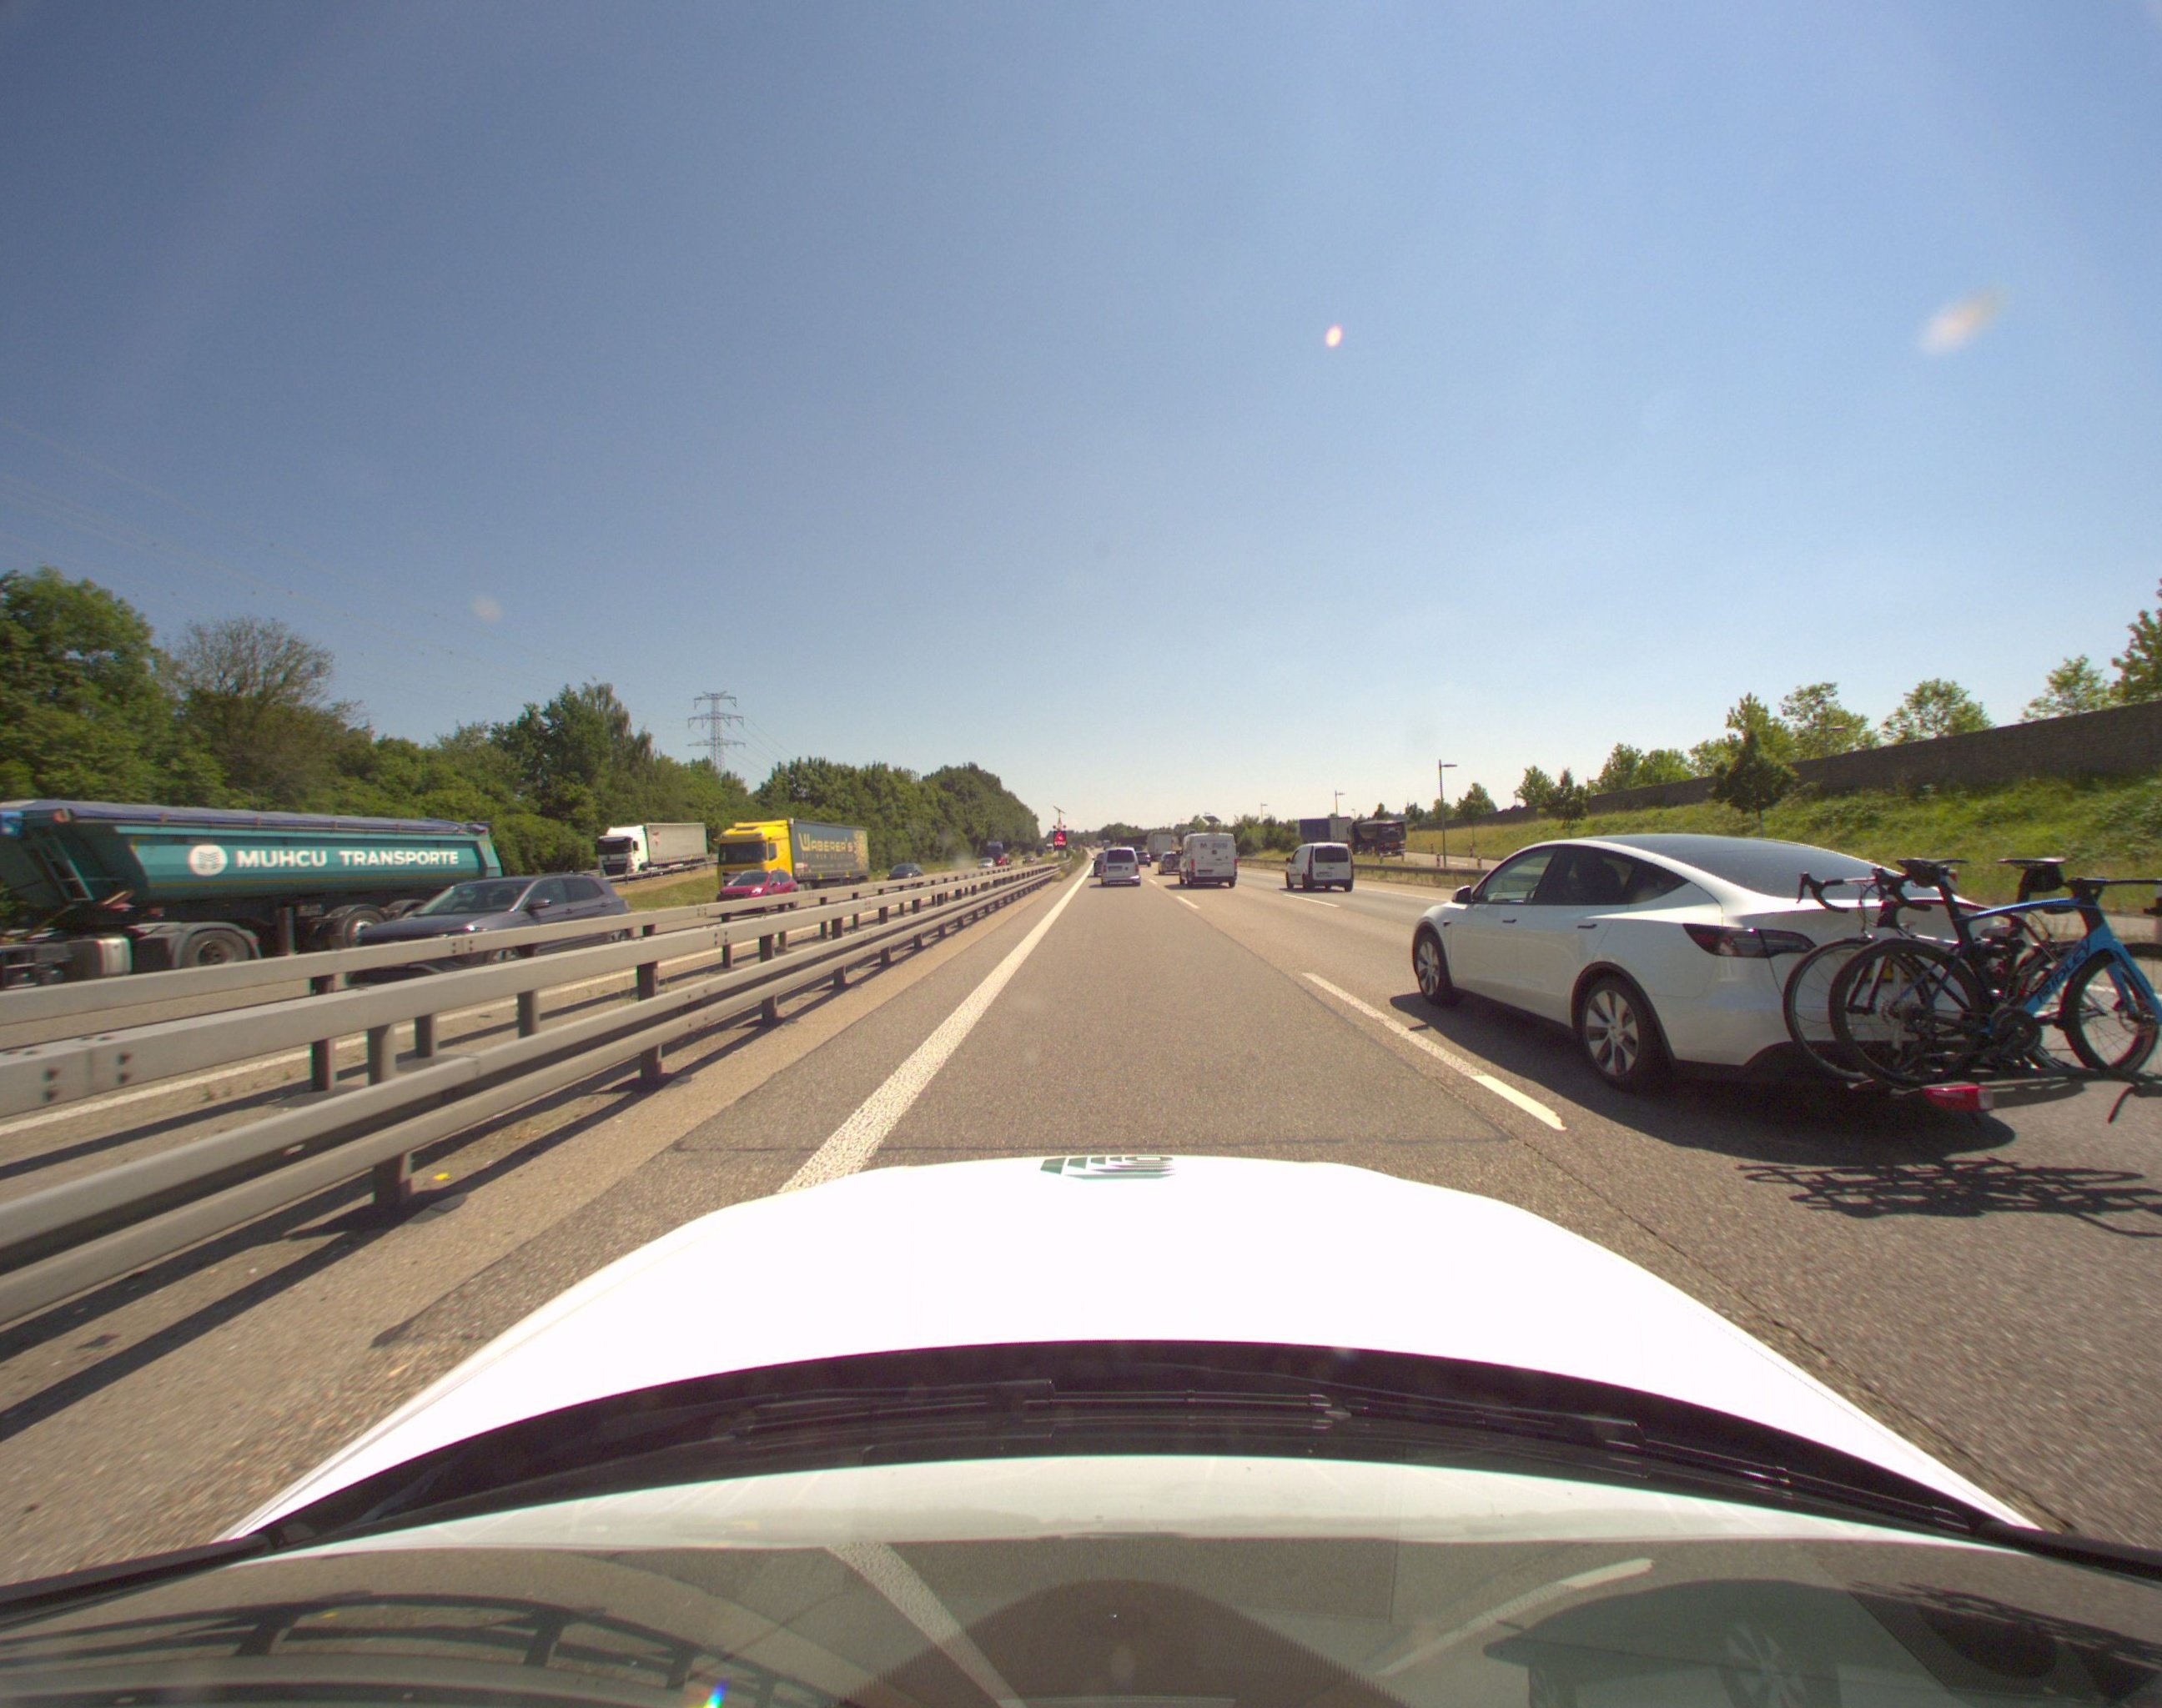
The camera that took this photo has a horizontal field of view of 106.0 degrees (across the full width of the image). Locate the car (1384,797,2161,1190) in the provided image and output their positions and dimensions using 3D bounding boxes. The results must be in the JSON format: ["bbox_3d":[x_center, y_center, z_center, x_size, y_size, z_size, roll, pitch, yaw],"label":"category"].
[{"bbox_3d":[4.265,0.586,6.219,1.943,1.636,5.602,0,0,1],"label":"car"}]

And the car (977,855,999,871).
[{"bbox_3d":[-10.297,0.989,90.301,1.775,1.530,3.884,-5,0,1],"label":"car"}]

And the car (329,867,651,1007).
[{"bbox_3d":[-8.505,1.081,12.266,1.775,1.624,4.002,-3,0,2],"label":"car"}]

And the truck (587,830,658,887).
[{"bbox_3d":[-33.730,0.232,60.076,2.941,3.895,4.315,-2,2,-7],"label":"truck"}]

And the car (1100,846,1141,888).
[{"bbox_3d":[1.855,0.569,38.053,1.738,1.764,4.091,-3,0,2],"label":"car"}]

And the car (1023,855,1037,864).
[{"bbox_3d":[-8.844,0.908,141.285,1.763,1.334,4.923,-3,0,2],"label":"car"}]

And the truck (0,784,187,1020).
[{"bbox_3d":[-16.622,0.723,11.043,2.903,3.300,5.333,-2,0,2],"label":"truck"}]

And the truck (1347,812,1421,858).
[{"bbox_3d":[29.301,-1.703,79.583,3.769,4.083,12.539,-1,0,6],"label":"truck"}]

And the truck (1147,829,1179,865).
[{"bbox_3d":[11.852,-0.954,118.946,3.773,4.999,12.526,-1,0,2],"label":"truck"}]

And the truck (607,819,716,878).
[{"bbox_3d":[-34.737,-0.647,68.381,2.993,4.340,14.515,-2,2,-7],"label":"truck"}]

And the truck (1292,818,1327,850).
[{"bbox_3d":[30.982,-2.641,110.860,3.042,4.083,6.399,-1,0,1],"label":"truck"}]

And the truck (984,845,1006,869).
[{"bbox_3d":[-13.601,0.451,128.788,2.985,3.558,3.119,-2,0,1],"label":"truck"}]

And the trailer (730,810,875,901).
[{"bbox_3d":[-15.431,0.074,46.961,3.163,4.341,13.816,-2,0,1],"label":"trailer"}]

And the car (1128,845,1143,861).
[{"bbox_3d":[6.622,-0.108,99.686,1.668,1.891,4.091,-3,0,2],"label":"car"}]

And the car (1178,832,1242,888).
[{"bbox_3d":[5.554,0.252,35.805,2.173,2.254,5.366,-1,0,2],"label":"car"}]

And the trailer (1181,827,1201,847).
[{"bbox_3d":[26.188,-4.020,195.076,2.596,4.258,18.423,-1,0,1],"label":"trailer"}]

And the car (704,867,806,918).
[{"bbox_3d":[-11.795,1.327,29.795,1.775,1.530,4.385,-5,0,1],"label":"car"}]

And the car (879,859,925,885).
[{"bbox_3d":[-11.378,1.104,52.039,1.705,1.468,4.150,-4,0,3],"label":"car"}]

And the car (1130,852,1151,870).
[{"bbox_3d":[5.992,0.679,82.052,1.894,1.672,4.091,-3,0,2],"label":"car"}]

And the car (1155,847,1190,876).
[{"bbox_3d":[6.053,0.476,54.184,1.968,1.733,4.091,-3,0,2],"label":"car"}]

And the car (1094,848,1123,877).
[{"bbox_3d":[1.797,0.531,52.696,1.738,1.701,4.091,-3,0,3],"label":"car"}]

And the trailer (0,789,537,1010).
[{"bbox_3d":[-16.425,0.717,17.260,2.903,3.300,9.714,-2,0,2],"label":"trailer"}]

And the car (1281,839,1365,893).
[{"bbox_3d":[9.125,0.427,31.089,1.944,1.837,4.178,-3,0,0],"label":"car"}]

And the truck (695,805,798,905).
[{"bbox_3d":[-15.624,0.056,38.283,3.163,4.341,3.514,-2,0,1],"label":"truck"}]

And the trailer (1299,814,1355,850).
[{"bbox_3d":[30.859,-2.657,102.998,3.041,4.083,14.260,-1,0,1],"label":"trailer"}]

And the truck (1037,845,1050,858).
[{"bbox_3d":[-11.585,-0.777,252.224,2.985,3.802,10.792,-2,0,1],"label":"truck"}]
